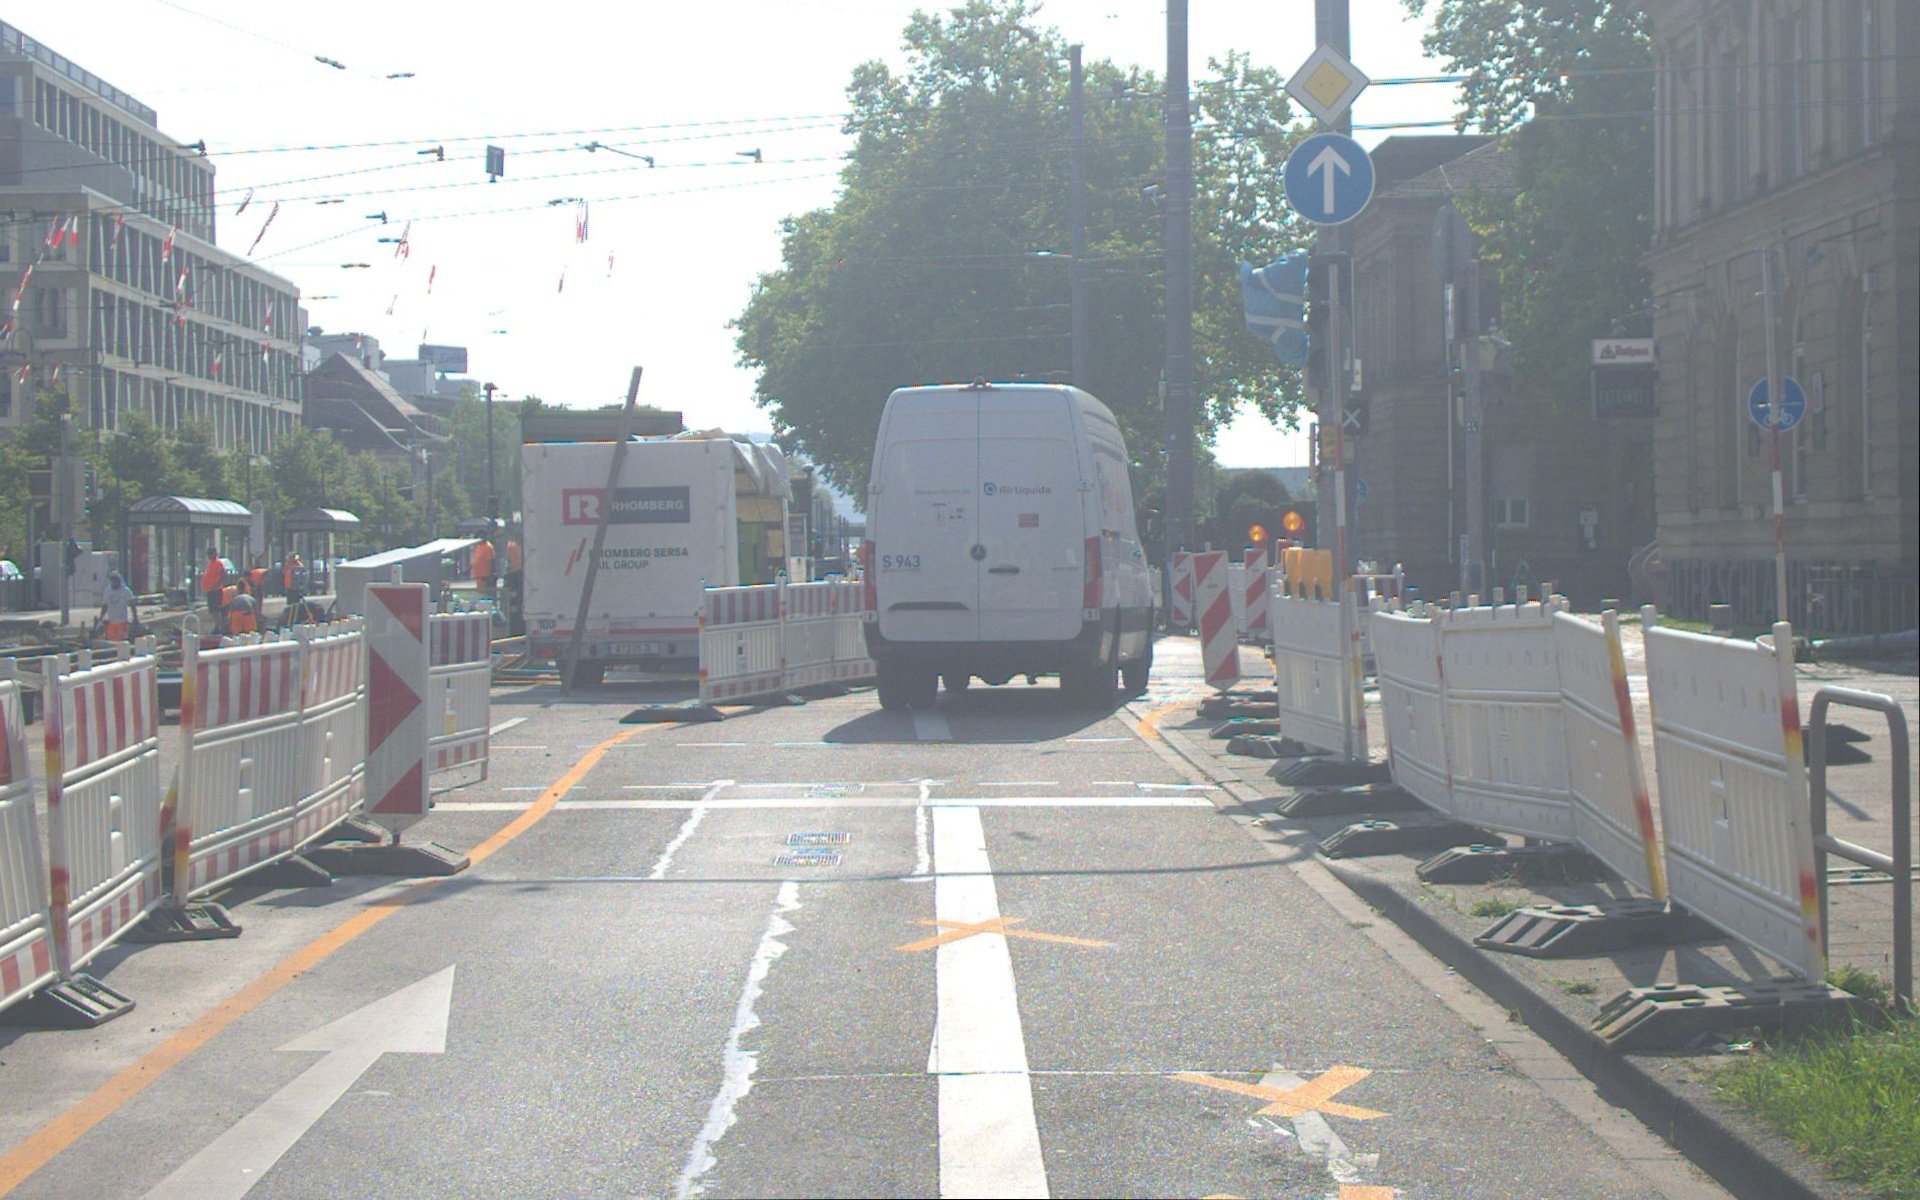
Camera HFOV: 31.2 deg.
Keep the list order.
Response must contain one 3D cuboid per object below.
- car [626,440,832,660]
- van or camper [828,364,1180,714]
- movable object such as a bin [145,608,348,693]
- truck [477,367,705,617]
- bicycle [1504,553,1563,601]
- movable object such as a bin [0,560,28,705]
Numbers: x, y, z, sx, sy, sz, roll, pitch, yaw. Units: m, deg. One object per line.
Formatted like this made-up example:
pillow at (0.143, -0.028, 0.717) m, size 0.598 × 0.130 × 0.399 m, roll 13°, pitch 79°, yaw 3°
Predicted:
car at (-2.701, -0.584, 41.816) m, size 2.207 × 2.416 × 7.200 m, roll -1°, pitch 0°, yaw -2°
van or camper at (0.504, -0.553, 29.724) m, size 2.116 × 2.672 × 5.248 m, roll -2°, pitch 1°, yaw 10°
movable object such as a bin at (-6.243, 0.440, 30.073) m, size 1.721 × 0.711 × 0.716 m, roll 0°, pitch 0°, yaw 33°
truck at (-6.416, -1.795, 58.597) m, size 2.791 × 3.899 × 8.421 m, roll 1°, pitch 1°, yaw -13°
bicycle at (12.958, -0.523, 77.711) m, size 0.491 × 0.996 × 1.819 m, roll -1°, pitch 3°, yaw -20°
movable object such as a bin at (-8.481, 0.279, 28.471) m, size 0.887 × 1.207 × 2.212 m, roll -1°, pitch 1°, yaw 1°
